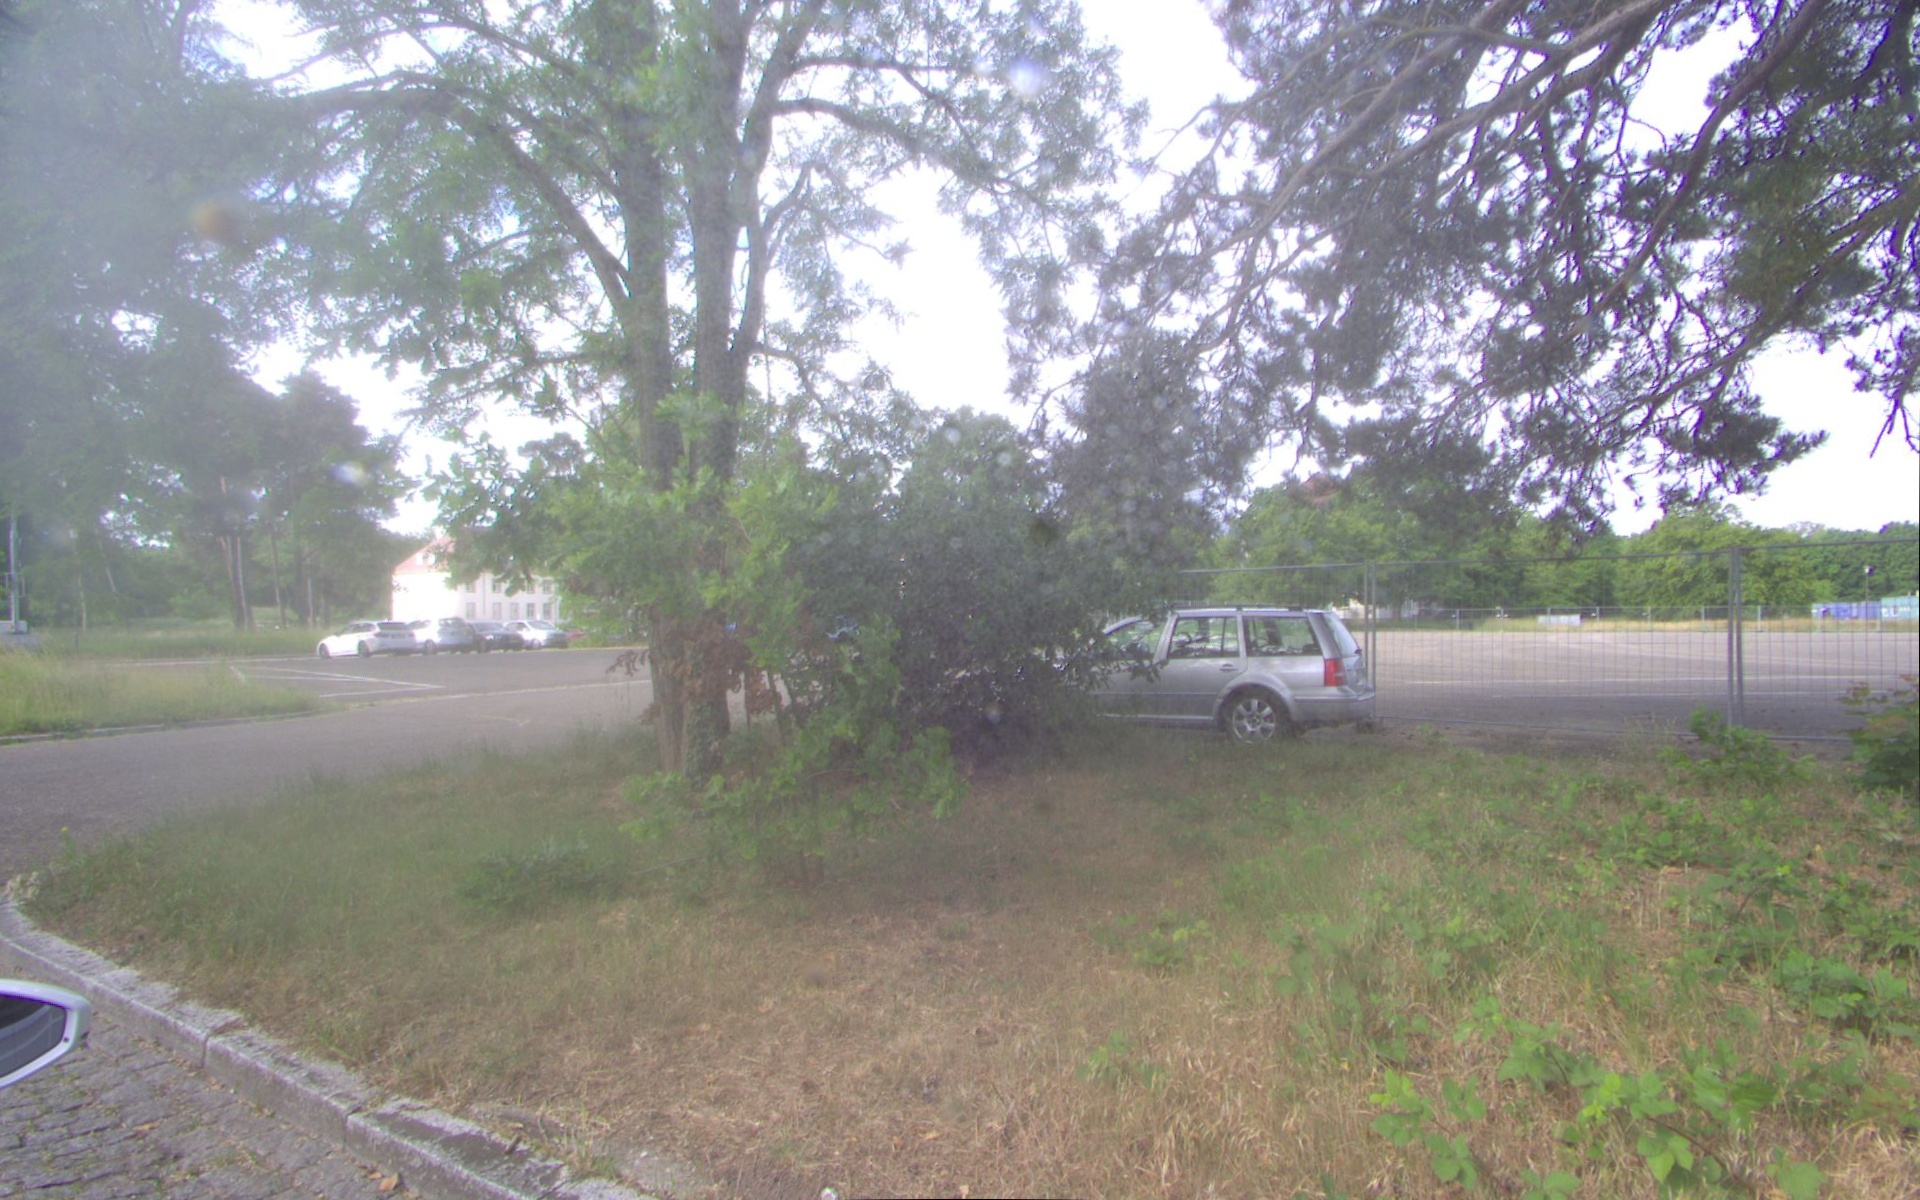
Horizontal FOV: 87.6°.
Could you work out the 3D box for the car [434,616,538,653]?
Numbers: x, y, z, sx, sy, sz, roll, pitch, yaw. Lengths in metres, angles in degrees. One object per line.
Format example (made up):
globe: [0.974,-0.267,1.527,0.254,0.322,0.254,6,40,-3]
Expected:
car: [-21.012,1.537,44.379,4.359,1.500,1.992,-2,-1,29]

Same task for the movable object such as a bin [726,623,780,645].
movable object such as a bin: [-8.416,1.379,40.680,1.928,0.836,1.181,-1,-1,37]

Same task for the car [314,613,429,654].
car: [-23.360,1.340,39.734,4.359,1.500,1.992,-2,-1,29]

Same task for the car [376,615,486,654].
car: [-22.179,1.435,41.962,4.359,1.500,1.992,-2,-1,29]

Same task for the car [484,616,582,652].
car: [-19.997,1.622,46.893,4.359,1.542,1.992,-2,-3,29]

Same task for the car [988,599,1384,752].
car: [2.464,0.784,11.181,4.014,1.444,1.645,-1,-3,31]
